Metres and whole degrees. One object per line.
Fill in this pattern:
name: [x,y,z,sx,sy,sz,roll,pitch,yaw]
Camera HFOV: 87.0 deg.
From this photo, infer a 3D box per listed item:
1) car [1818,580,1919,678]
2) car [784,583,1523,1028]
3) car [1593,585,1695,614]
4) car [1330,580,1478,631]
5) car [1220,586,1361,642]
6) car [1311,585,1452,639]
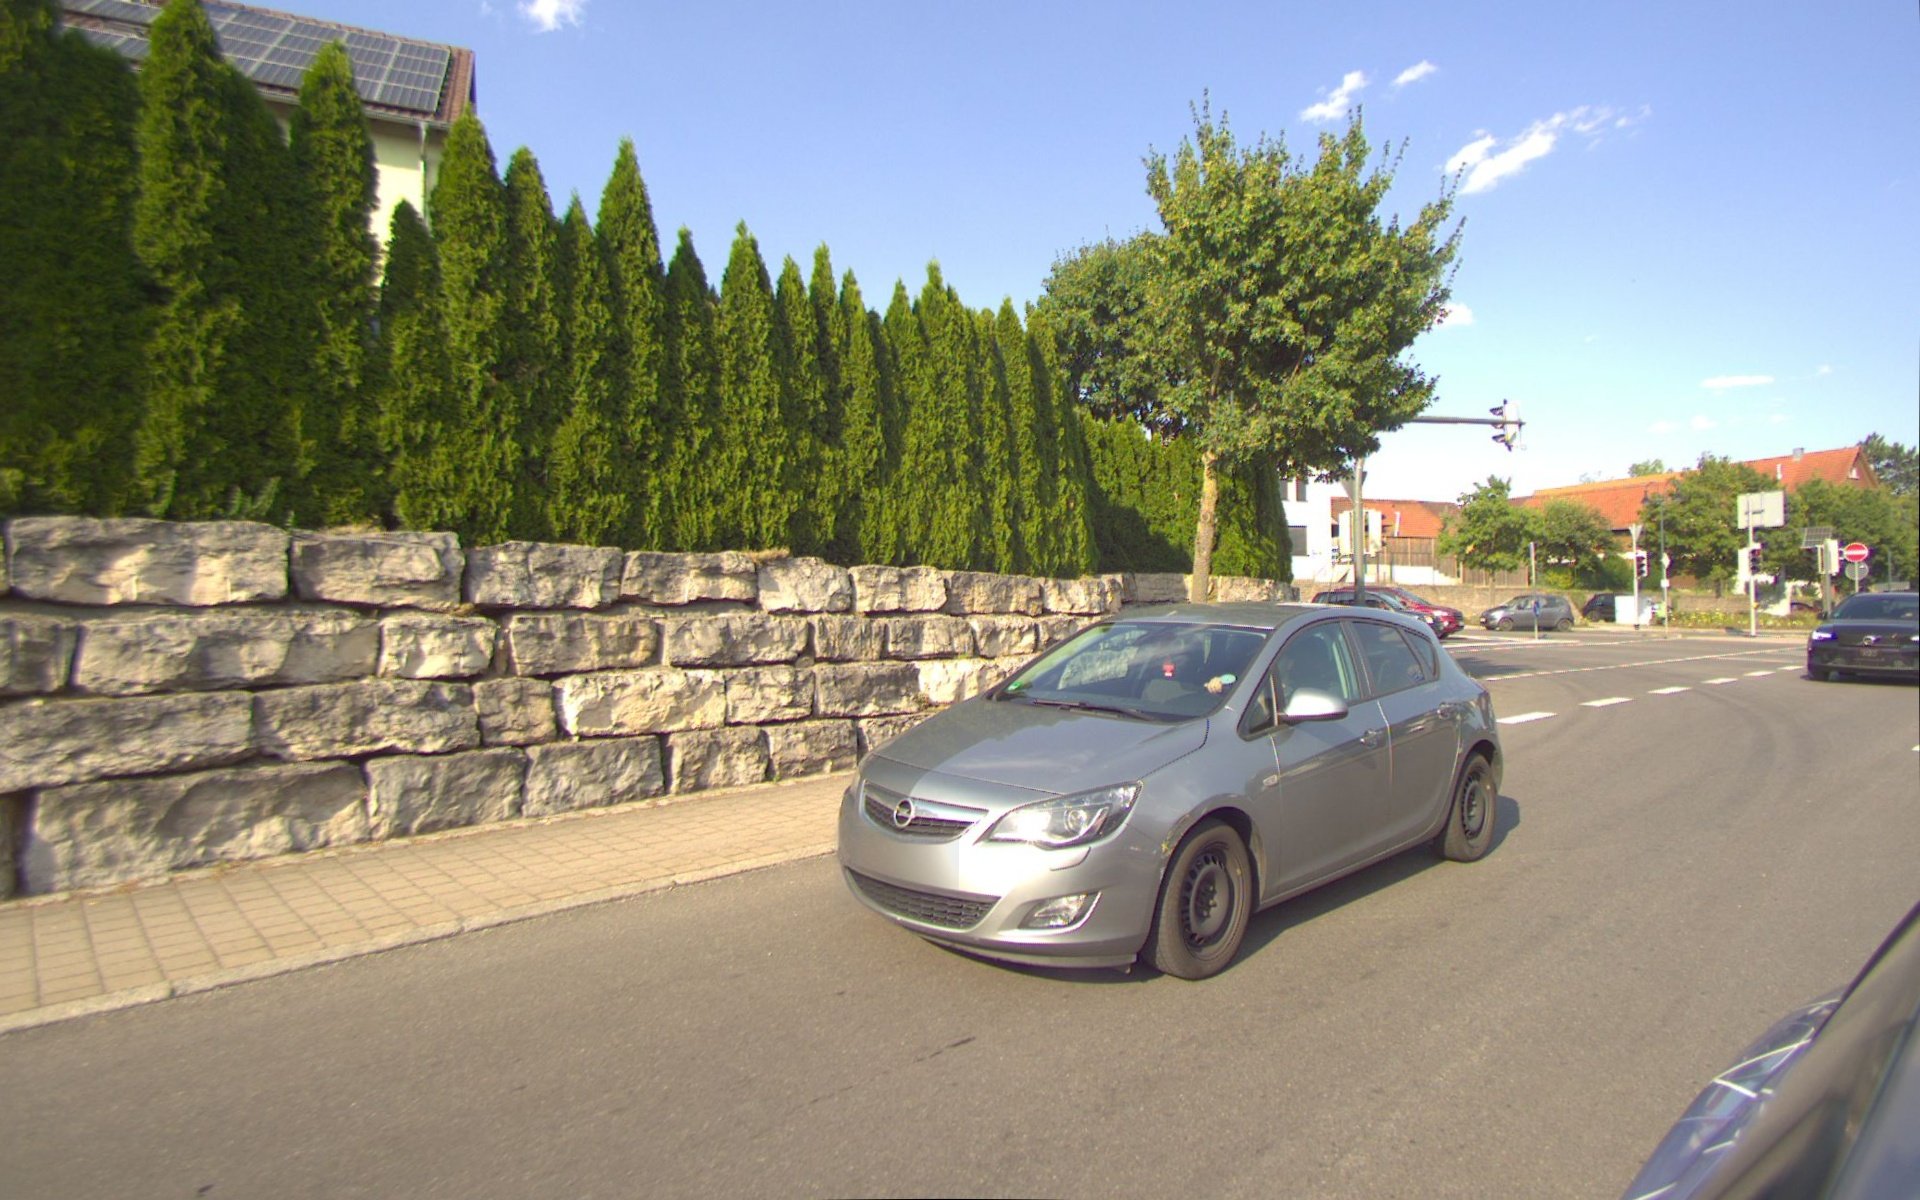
car: [17.223,0.493,18.428,3.984,1.626,1.791,0,-1,-40]
car: [1.277,0.673,5.284,4.071,1.440,1.650,1,1,-42]
car: [35.446,-0.013,52.535,1.644,1.475,4.085,0,0,-27]
car: [14.974,0.186,34.296,1.832,1.646,4.240,1,-1,-45]
car: [9.561,0.354,29.467,1.599,1.467,3.602,-1,2,-43]
car: [12.767,0.339,30.729,3.770,1.561,1.580,0,0,33]
